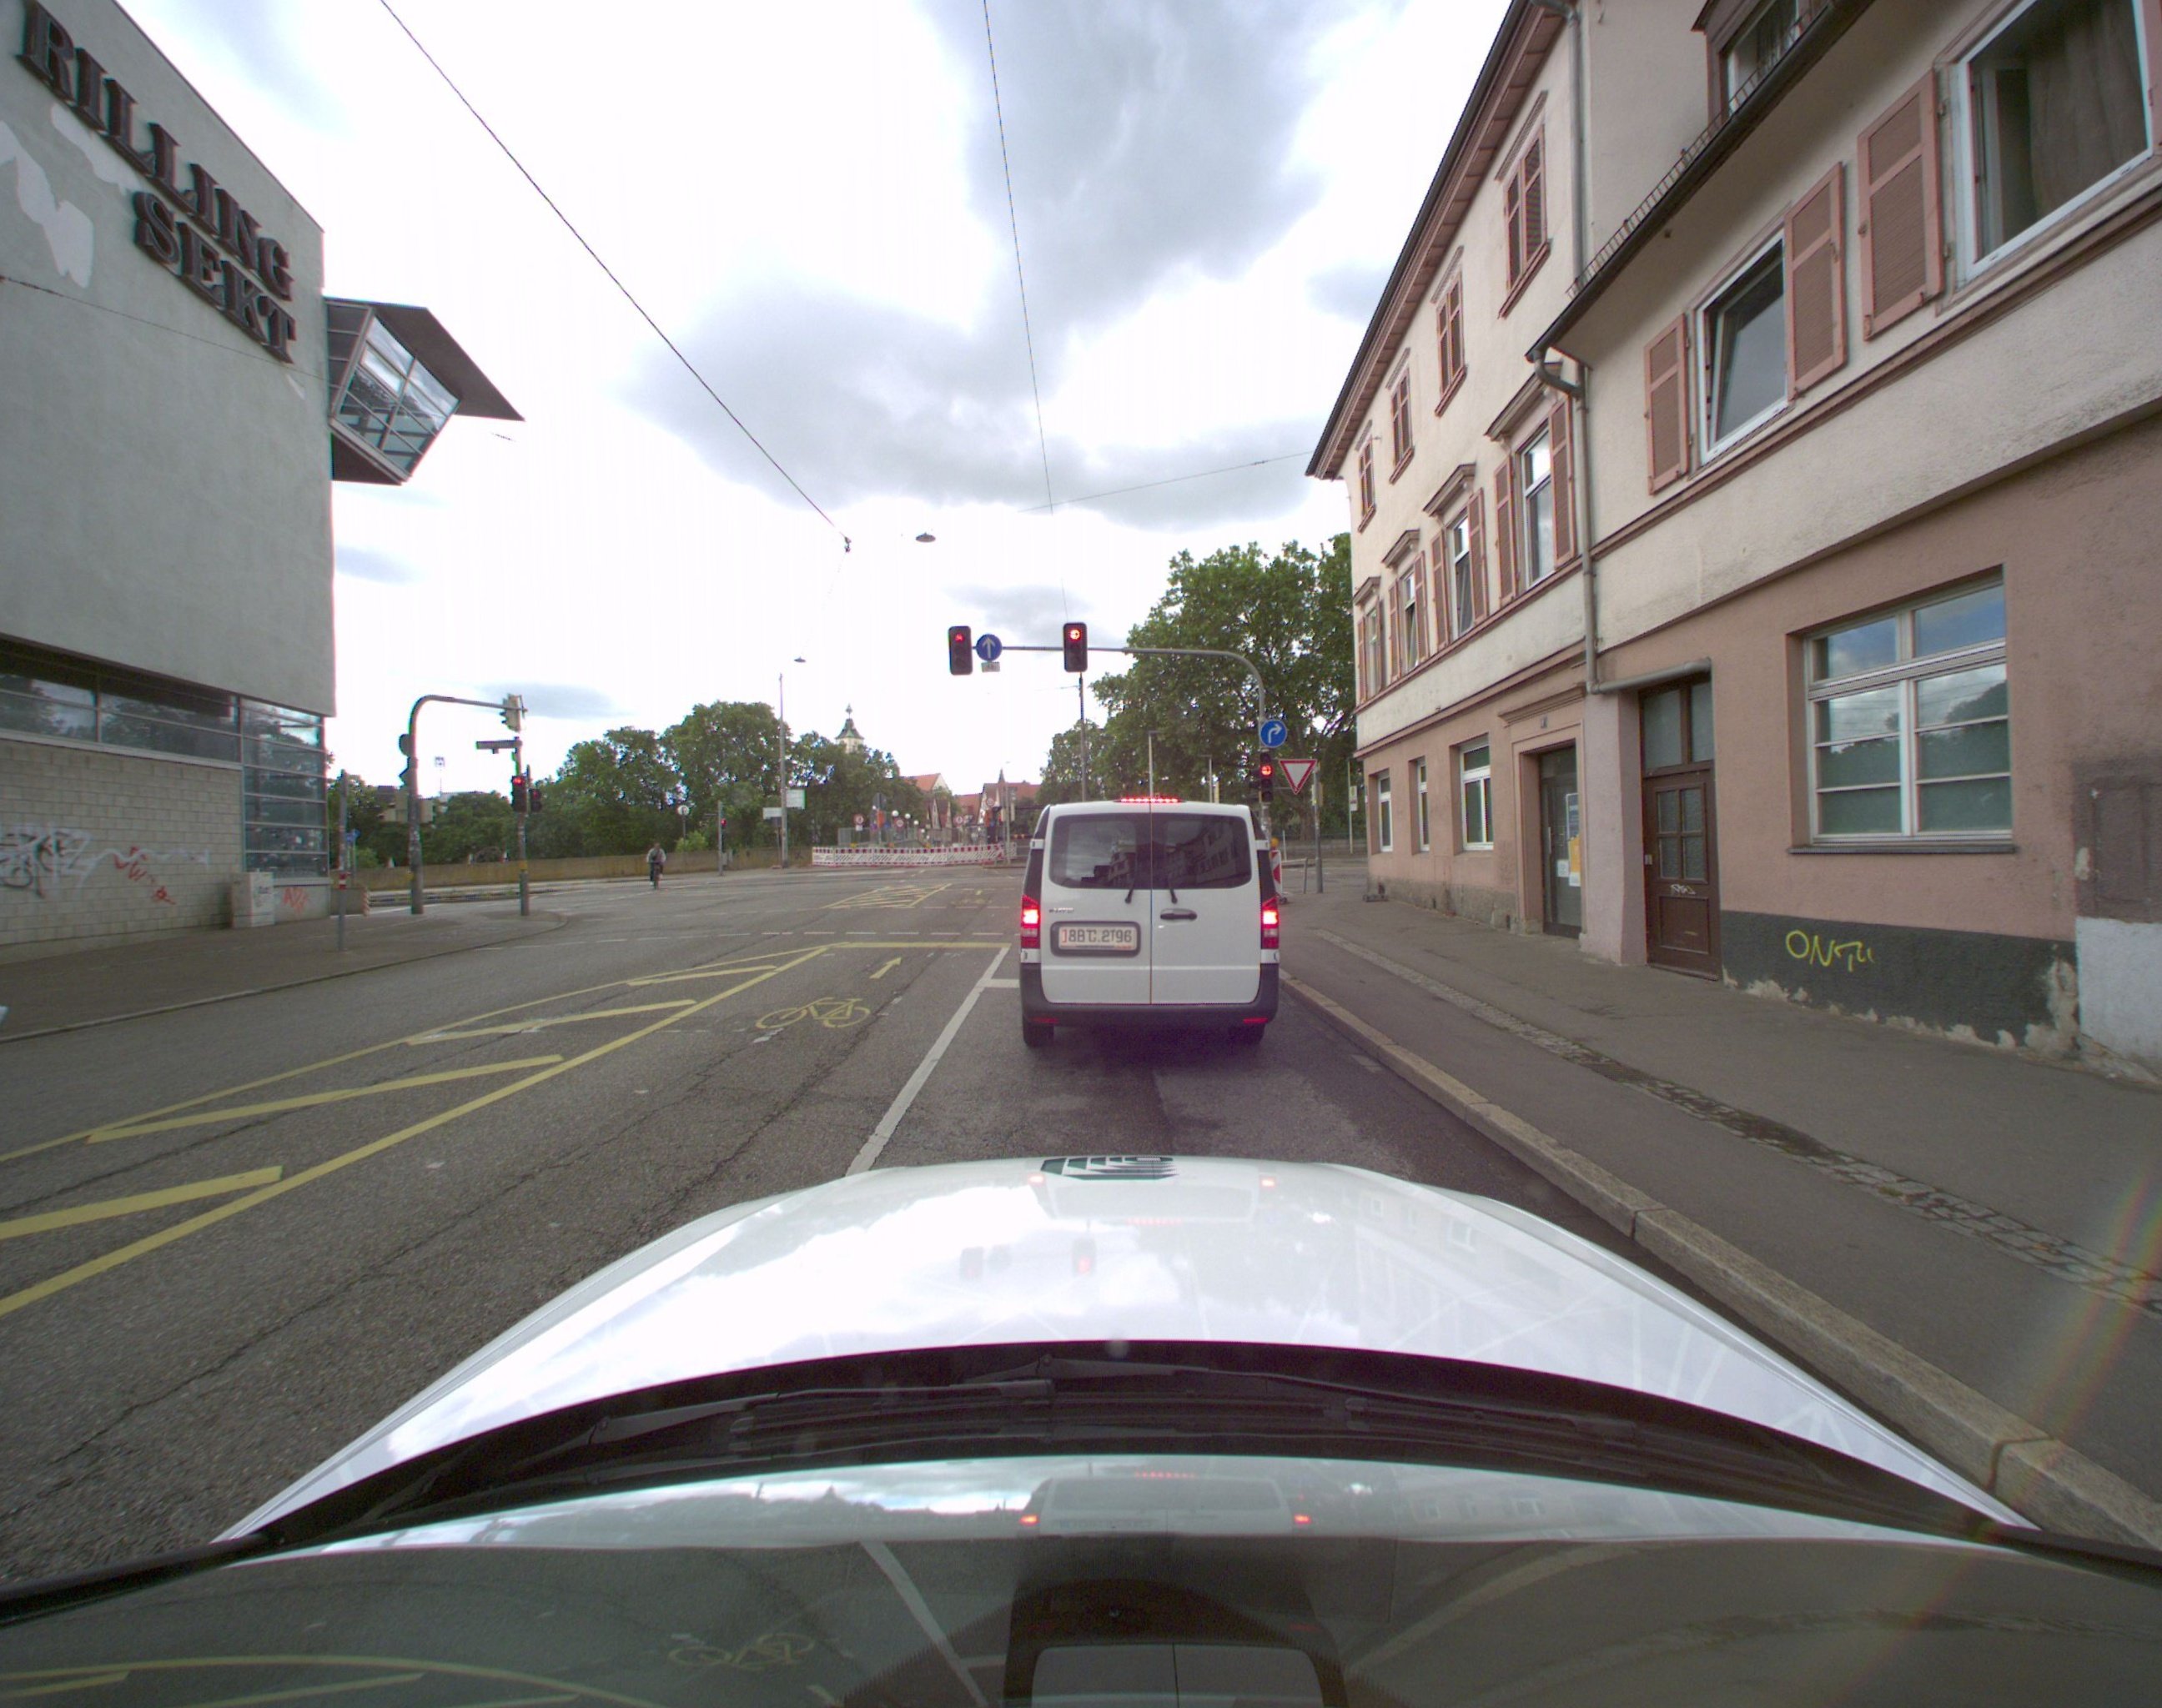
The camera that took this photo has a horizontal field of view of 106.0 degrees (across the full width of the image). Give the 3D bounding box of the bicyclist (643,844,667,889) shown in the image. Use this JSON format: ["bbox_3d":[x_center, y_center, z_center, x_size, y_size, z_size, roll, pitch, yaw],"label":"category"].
[{"bbox_3d":[-16.512,0.483,31.584,0.727,1.701,0.804,-2,0,-25],"label":"bicyclist"}]

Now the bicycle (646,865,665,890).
[{"bbox_3d":[-16.508,0.907,31.621,0.544,0.892,1.865,-2,0,-25],"label":"bicycle"}]

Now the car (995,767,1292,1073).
[{"bbox_3d":[0.490,0.383,7.731,1.943,2.013,4.700,0,1,2],"label":"car"}]

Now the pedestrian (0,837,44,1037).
[{"bbox_3d":[-10.750,0.796,7.461,1.049,1.886,1.093,0,1,4],"label":"pedestrian"}]
